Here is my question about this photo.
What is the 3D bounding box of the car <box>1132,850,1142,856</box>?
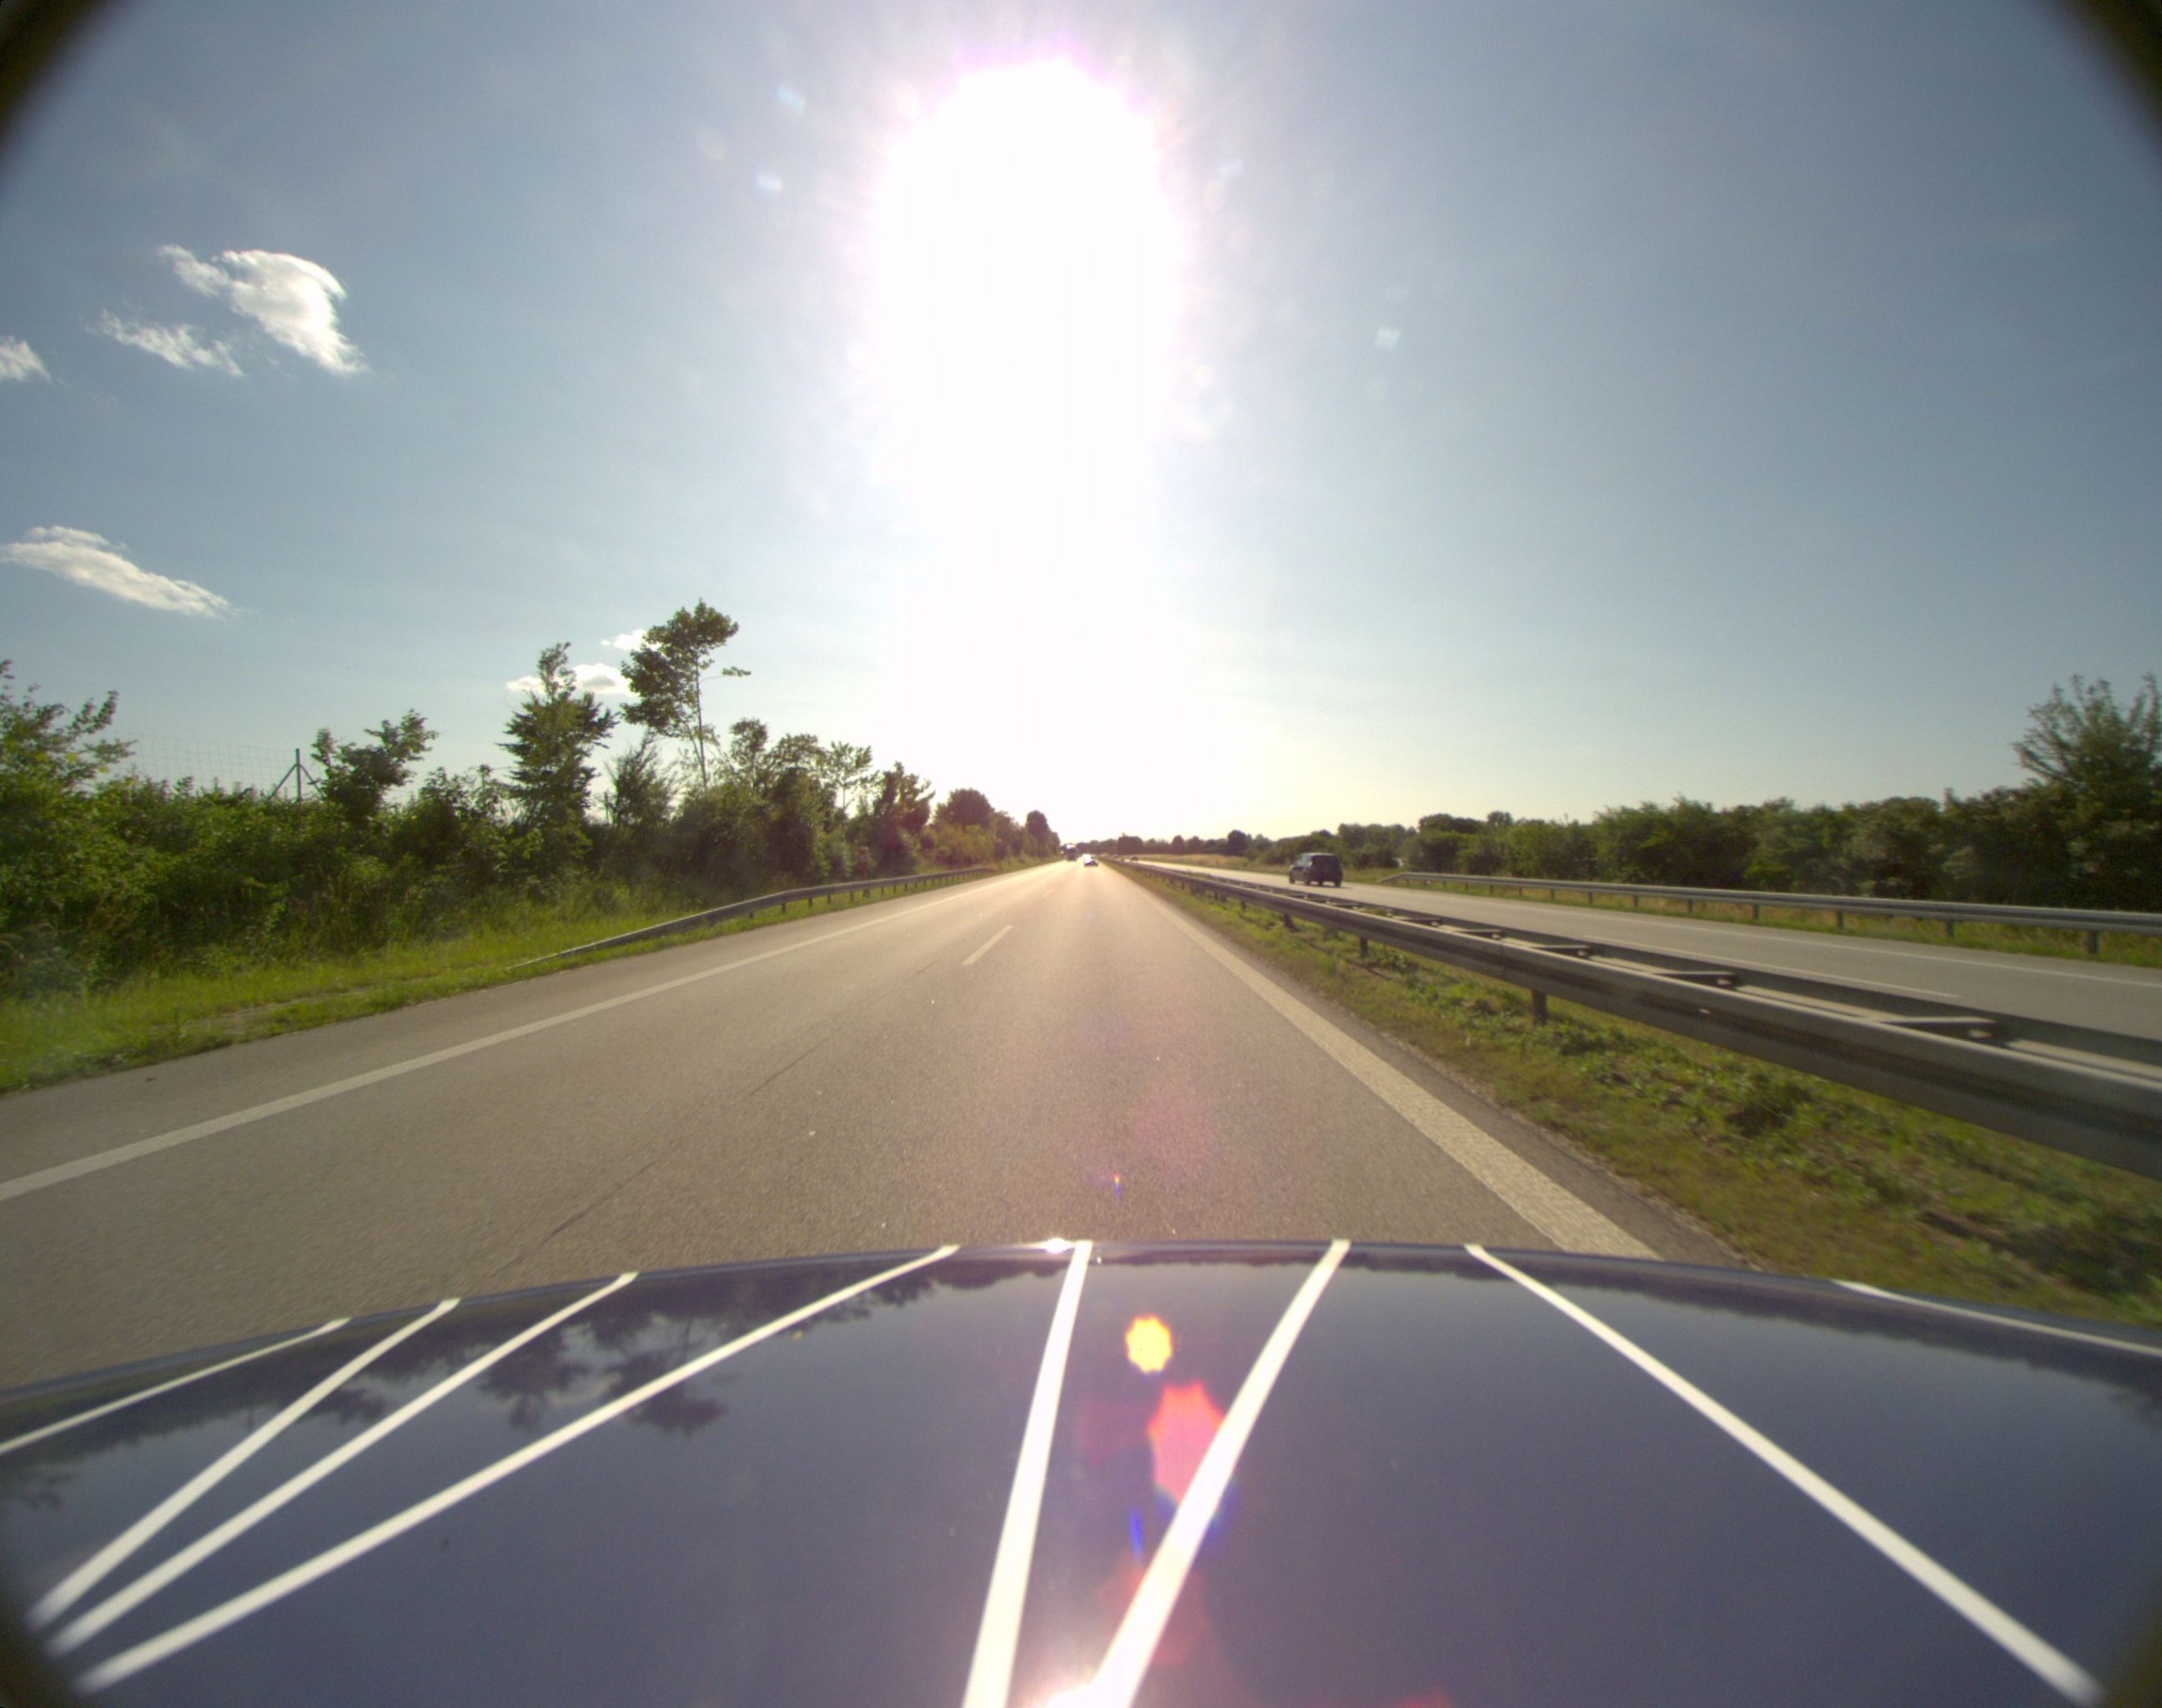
[{"bbox_3d":[13.331,-0.191,181.161,1.837,1.390,4.922,2,0,0],"label":"car"}]

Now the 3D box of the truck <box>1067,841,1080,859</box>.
[{"bbox_3d":[-1.878,-1.108,189.426,2.759,4.242,8.492,-2,1,1],"label":"truck"}]

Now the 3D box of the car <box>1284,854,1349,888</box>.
[{"bbox_3d":[11.804,0.792,38.398,1.834,1.562,4.656,1,1,1],"label":"car"}]

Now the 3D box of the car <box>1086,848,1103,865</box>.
[{"bbox_3d":[1.670,0.305,94.297,1.998,2.002,4.358,-2,1,1],"label":"car"}]
